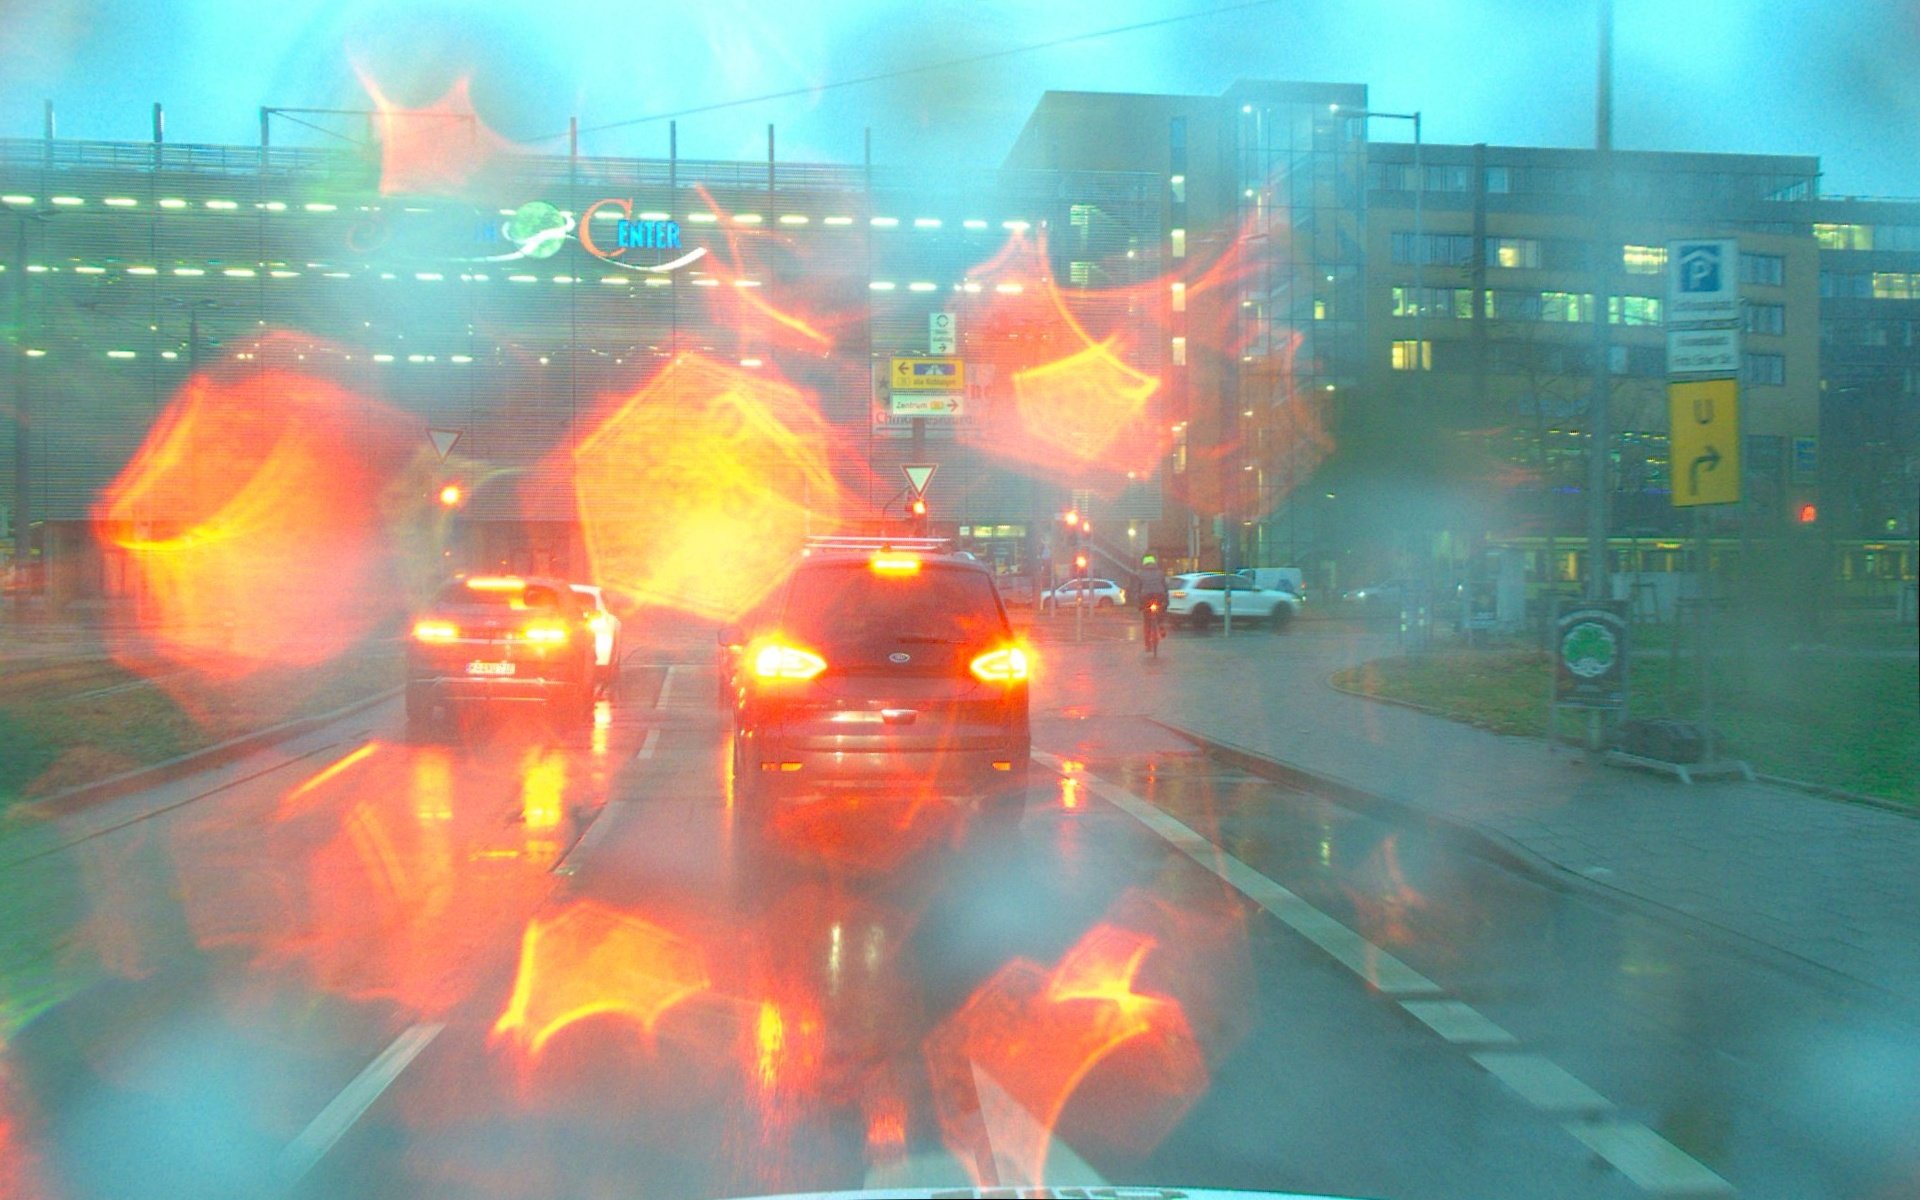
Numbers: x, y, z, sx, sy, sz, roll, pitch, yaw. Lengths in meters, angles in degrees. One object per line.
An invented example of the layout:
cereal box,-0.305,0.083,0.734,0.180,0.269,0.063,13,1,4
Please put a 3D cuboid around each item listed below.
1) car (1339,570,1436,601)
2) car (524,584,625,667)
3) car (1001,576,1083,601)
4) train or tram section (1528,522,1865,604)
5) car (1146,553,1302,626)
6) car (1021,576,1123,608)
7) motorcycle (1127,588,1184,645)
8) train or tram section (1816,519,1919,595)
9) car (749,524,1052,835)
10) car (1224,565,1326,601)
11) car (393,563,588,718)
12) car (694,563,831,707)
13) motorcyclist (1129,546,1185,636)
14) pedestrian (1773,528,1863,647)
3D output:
car,20.410,-0.707,78.964,4.142,1.414,1.794,-1,1,-13
car,-6.353,0.370,27.349,1.514,1.273,4.054,0,0,-13
car,3.967,-0.576,80.248,3.691,1.186,1.676,-1,1,-11
train or tram section,31.679,-1.600,70.690,16.365,3.317,2.322,-1,1,-21
car,8.106,-0.317,50.760,4.294,2.048,1.987,2,1,-22
car,5.107,-0.392,75.452,4.342,1.414,1.794,-1,1,-13
motorcycle,3.461,0.279,29.389,0.835,0.988,1.581,0,1,0
train or tram section,44.966,-1.963,75.787,12.770,3.317,2.322,-1,1,-21
car,-0.602,0.443,11.752,1.702,1.768,4.240,2,0,-8
car,14.703,-0.803,77.173,4.348,1.623,1.792,-1,1,-16
car,-5.344,0.403,19.267,1.720,1.601,3.991,0,0,-9
car,-2.680,0.421,21.828,1.606,1.726,3.662,1,0,-10
motorcyclist,3.480,-0.157,29.329,0.850,1.561,1.108,0,0,0
pedestrian,14.552,-0.214,28.077,1.145,1.957,0.899,2,1,18
